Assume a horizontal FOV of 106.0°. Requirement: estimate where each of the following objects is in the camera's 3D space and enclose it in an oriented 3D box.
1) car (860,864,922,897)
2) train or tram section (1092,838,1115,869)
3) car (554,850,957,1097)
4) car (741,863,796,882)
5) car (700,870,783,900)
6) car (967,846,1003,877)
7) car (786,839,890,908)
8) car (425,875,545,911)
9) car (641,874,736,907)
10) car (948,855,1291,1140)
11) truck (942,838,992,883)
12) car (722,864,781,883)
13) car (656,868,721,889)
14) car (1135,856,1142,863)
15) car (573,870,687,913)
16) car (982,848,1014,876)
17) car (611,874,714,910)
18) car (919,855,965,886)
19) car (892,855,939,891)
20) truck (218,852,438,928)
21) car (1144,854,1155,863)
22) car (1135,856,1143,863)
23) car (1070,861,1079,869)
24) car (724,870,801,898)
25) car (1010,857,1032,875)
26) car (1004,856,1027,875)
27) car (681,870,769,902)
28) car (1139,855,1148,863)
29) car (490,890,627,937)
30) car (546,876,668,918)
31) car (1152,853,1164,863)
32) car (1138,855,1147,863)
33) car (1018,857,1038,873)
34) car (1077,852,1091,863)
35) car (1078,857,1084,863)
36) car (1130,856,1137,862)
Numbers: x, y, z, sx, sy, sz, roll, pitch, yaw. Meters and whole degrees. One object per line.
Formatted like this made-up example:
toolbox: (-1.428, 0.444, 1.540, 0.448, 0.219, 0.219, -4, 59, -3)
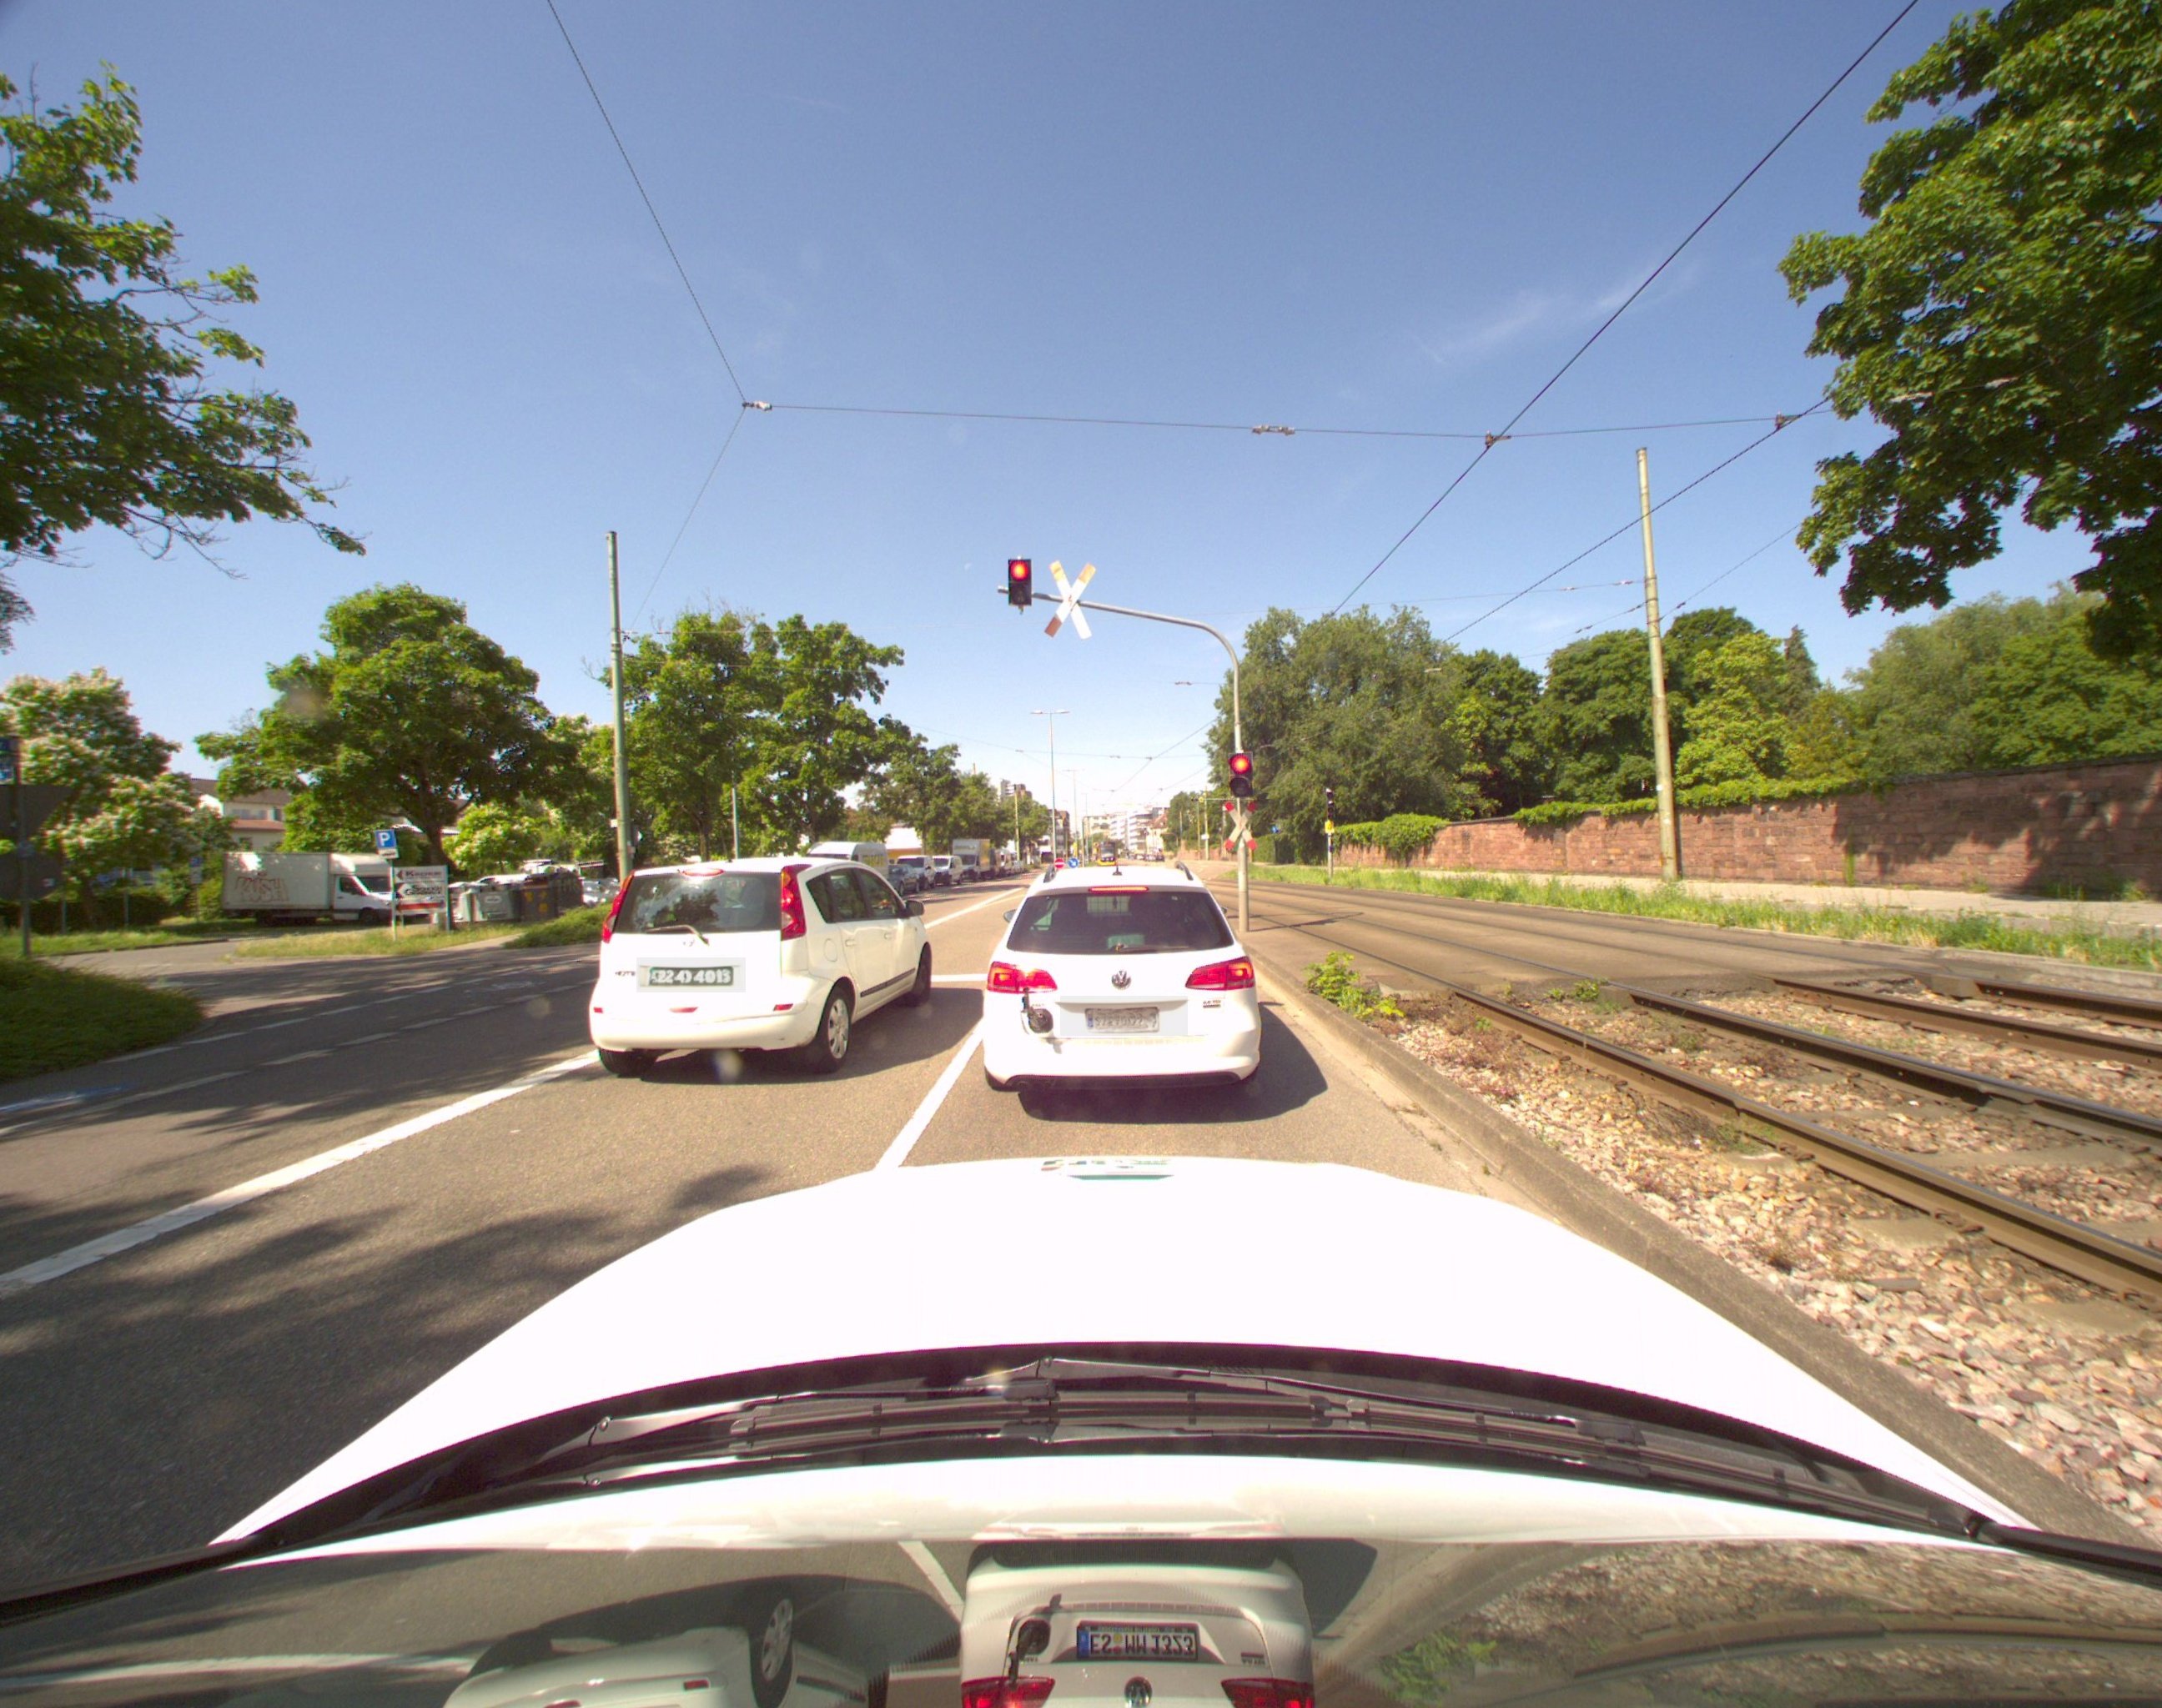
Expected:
car: (-9.040, 1.233, 39.042, 1.856, 1.415, 4.281, 0, 0, 1)
train or tram section: (3.075, -0.023, 110.053, 2.860, 3.855, 12.396, -3, 0, 2)
car: (-2.439, 0.766, 7.493, 1.655, 1.547, 4.550, -1, 0, 3)
car: (-31.765, 1.876, 82.788, 4.780, 1.787, 2.062, 0, -1, -3)
car: (-19.603, 1.779, 47.073, 3.977, 1.415, 1.729, -4, -1, -3)
car: (-8.064, 0.631, 68.694, 2.114, 2.516, 5.737, 0, 0, 2)
car: (-9.576, 0.696, 32.682, 2.114, 2.516, 5.822, 0, 0, 3)
car: (-31.762, 2.058, 43.517, 4.780, 1.787, 2.062, 0, -1, -3)
car: (-20.283, 1.879, 42.223, 3.977, 1.415, 1.729, -4, -1, -3)
car: (0.266, 0.763, 6.317, 1.756, 1.430, 4.002, -3, 0, 2)
truck: (-8.399, 0.426, 60.698, 2.411, 3.150, 7.001, 0, 0, 2)
car: (-31.462, 1.834, 77.926, 4.780, 1.787, 2.062, 0, -1, -3)
car: (-35.137, 2.210, 72.986, 4.780, 1.787, 2.062, 0, -1, -3)
car: (17.298, 1.643, 243.459, 1.857, 1.868, 5.063, 0, 0, 1)
car: (-19.912, 1.638, 36.076, 3.977, 1.610, 1.729, -4, -1, -3)
car: (-7.732, 0.692, 76.127, 2.114, 2.516, 5.737, 0, 0, 2)
car: (-20.290, 1.815, 39.612, 3.977, 1.415, 1.729, -4, -1, -3)
car: (-8.864, 1.024, 52.276, 1.856, 1.868, 5.415, 0, 0, 1)
car: (-9.212, 1.003, 45.694, 1.859, 1.868, 5.068, 0, 0, -3)
truck: (-32.375, 1.496, 35.217, 6.978, 3.110, 2.677, 0, 0, 0)
car: (14.084, 0.992, 168.269, 1.857, 1.868, 5.063, 0, 0, 1)
car: (15.950, 1.406, 223.082, 1.857, 1.868, 5.063, 0, 0, 1)
car: (-1.504, 2.653, 192.636, 1.756, 1.896, 4.916, 0, -1, 2)
car: (-19.456, 1.833, 49.889, 3.977, 1.415, 1.729, -4, -1, -3)
car: (-6.763, 1.328, 92.034, 1.856, 1.868, 5.415, 0, 0, 1)
car: (-6.815, 1.191, 85.217, 1.856, 1.868, 5.415, 0, 0, 1)
car: (-19.533, 1.733, 44.739, 3.977, 1.415, 1.729, -4, -1, -3)
car: (14.167, 1.081, 184.892, 1.857, 1.868, 5.063, 0, 0, 1)
car: (-19.926, 2.245, 31.174, 3.977, 1.415, 1.729, -4, -1, -3)
car: (-19.664, 1.779, 33.909, 3.977, 1.415, 1.729, -4, -1, -3)
car: (14.345, 0.789, 152.704, 1.857, 1.868, 5.063, 0, 0, 1)
car: (15.148, 1.261, 200.498, 1.857, 1.868, 5.063, 0, 0, 1)
car: (-6.381, 1.333, 98.947, 1.856, 1.868, 5.415, 0, 0, 1)
car: (0.429, 0.435, 112.840, 1.698, 1.473, 4.593, -3, 0, 3)
car: (-0.009, 1.649, 216.107, 1.700, 1.473, 4.587, -3, 0, -1)
car: (16.698, 1.661, 258.332, 1.857, 1.868, 5.063, 0, 0, 1)
